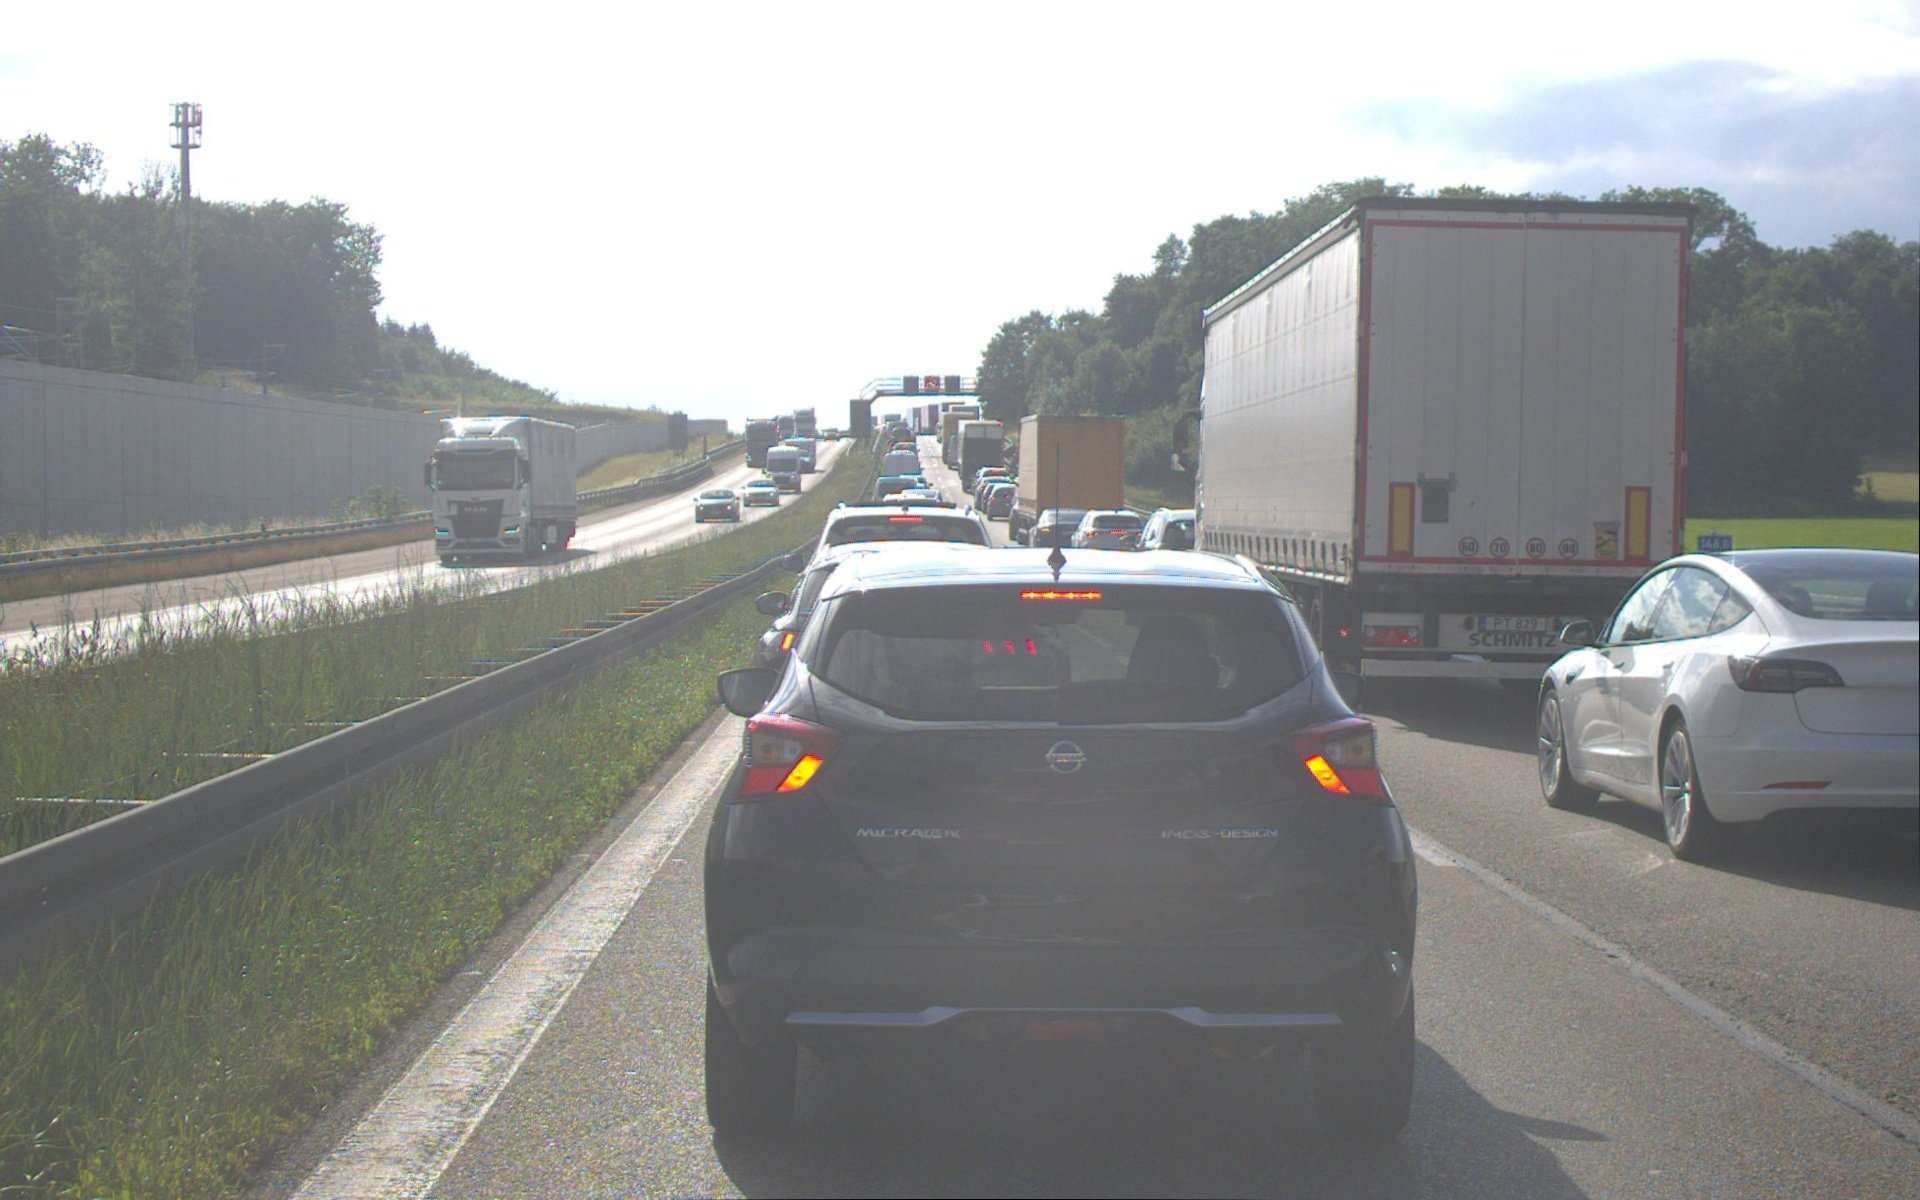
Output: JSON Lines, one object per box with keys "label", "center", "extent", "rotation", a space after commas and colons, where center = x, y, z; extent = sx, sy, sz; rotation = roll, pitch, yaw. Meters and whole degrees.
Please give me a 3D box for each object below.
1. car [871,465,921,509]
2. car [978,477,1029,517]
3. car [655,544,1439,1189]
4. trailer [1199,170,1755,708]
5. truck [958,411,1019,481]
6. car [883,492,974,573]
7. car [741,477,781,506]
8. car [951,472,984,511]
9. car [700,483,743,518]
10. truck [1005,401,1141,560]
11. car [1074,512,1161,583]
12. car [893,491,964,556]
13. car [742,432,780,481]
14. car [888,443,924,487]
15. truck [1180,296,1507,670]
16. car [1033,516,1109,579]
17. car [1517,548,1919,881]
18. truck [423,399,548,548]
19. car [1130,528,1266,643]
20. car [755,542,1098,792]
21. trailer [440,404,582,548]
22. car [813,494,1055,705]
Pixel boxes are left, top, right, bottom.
{"label": "car", "center": [-2.491, -4.397, 133.590], "extent": [1.873, 1.638, 4.233], "rotation": [0, 3, -2]}
{"label": "car", "center": [1.861, -4.466, 148.620], "extent": [1.873, 1.638, 4.233], "rotation": [0, 3, -4]}
{"label": "car", "center": [0.176, 0.569, 9.905], "extent": [1.773, 1.446, 4.232], "rotation": [0, 1, -1]}
{"label": "trailer", "center": [4.345, -1.244, 32.479], "extent": [3.130, 3.997, 13.367], "rotation": [1, 0, 0]}
{"label": "truck", "center": [1.862, -10.328, 231.107], "extent": [3.464, 4.561, 12.443], "rotation": [1, 2, -2]}
{"label": "car", "center": [-0.678, -1.455, 73.226], "extent": [1.873, 1.638, 4.233], "rotation": [0, 2, -1]}
{"label": "car", "center": [-10.368, -5.637, 179.113], "extent": [1.873, 1.446, 4.232], "rotation": [0, 1, -1]}
{"label": "car", "center": [0.449, -6.526, 205.660], "extent": [1.873, 2.151, 5.212], "rotation": [0, 4, -1]}
{"label": "car", "center": [-10.327, -4.309, 149.140], "extent": [1.651, 1.446, 3.956], "rotation": [0, 1, -1]}
{"label": "truck", "center": [3.369, -3.547, 106.249], "extent": [3.296, 4.561, 12.442], "rotation": [1, 1, -2]}
{"label": "car", "center": [3.786, -1.300, 83.334], "extent": [1.873, 1.638, 4.233], "rotation": [0, 2, -1]}
{"label": "car", "center": [-0.842, -2.071, 92.062], "extent": [1.873, 1.638, 4.233], "rotation": [0, 3, -1]}
{"label": "car", "center": [-11.933, -8.603, 206.599], "extent": [2.104, 2.860, 5.637], "rotation": [0, 1, -1]}
{"label": "car", "center": [-2.792, -6.992, 177.523], "extent": [1.873, 2.151, 5.212], "rotation": [0, 4, -1]}
{"label": "truck", "center": [4.311, -1.281, 39.756], "extent": [3.133, 4.002, 5.164], "rotation": [1, 0, 0]}
{"label": "car", "center": [2.981, -1.434, 92.709], "extent": [1.873, 1.638, 4.233], "rotation": [0, 2, -1]}
{"label": "car", "center": [4.079, 0.460, 17.036], "extent": [1.788, 1.389, 4.437], "rotation": [0, 1, -2]}
{"label": "truck", "center": [-13.537, -3.580, 98.495], "extent": [2.776, 4.074, 5.532], "rotation": [-2, 1, -1]}
{"label": "car", "center": [3.426, -0.249, 50.077], "extent": [1.697, 1.605, 4.437], "rotation": [0, 1, 0]}
{"label": "car", "center": [-0.205, 0.333, 20.900], "extent": [1.873, 1.353, 4.232], "rotation": [0, 1, -1]}
{"label": "trailer", "center": [-13.701, -3.712, 105.989], "extent": [2.790, 4.063, 13.521], "rotation": [-2, 1, -1]}
{"label": "car", "center": [-0.225, -0.044, 28.779], "extent": [1.873, 1.638, 4.232], "rotation": [0, 1, -1]}
